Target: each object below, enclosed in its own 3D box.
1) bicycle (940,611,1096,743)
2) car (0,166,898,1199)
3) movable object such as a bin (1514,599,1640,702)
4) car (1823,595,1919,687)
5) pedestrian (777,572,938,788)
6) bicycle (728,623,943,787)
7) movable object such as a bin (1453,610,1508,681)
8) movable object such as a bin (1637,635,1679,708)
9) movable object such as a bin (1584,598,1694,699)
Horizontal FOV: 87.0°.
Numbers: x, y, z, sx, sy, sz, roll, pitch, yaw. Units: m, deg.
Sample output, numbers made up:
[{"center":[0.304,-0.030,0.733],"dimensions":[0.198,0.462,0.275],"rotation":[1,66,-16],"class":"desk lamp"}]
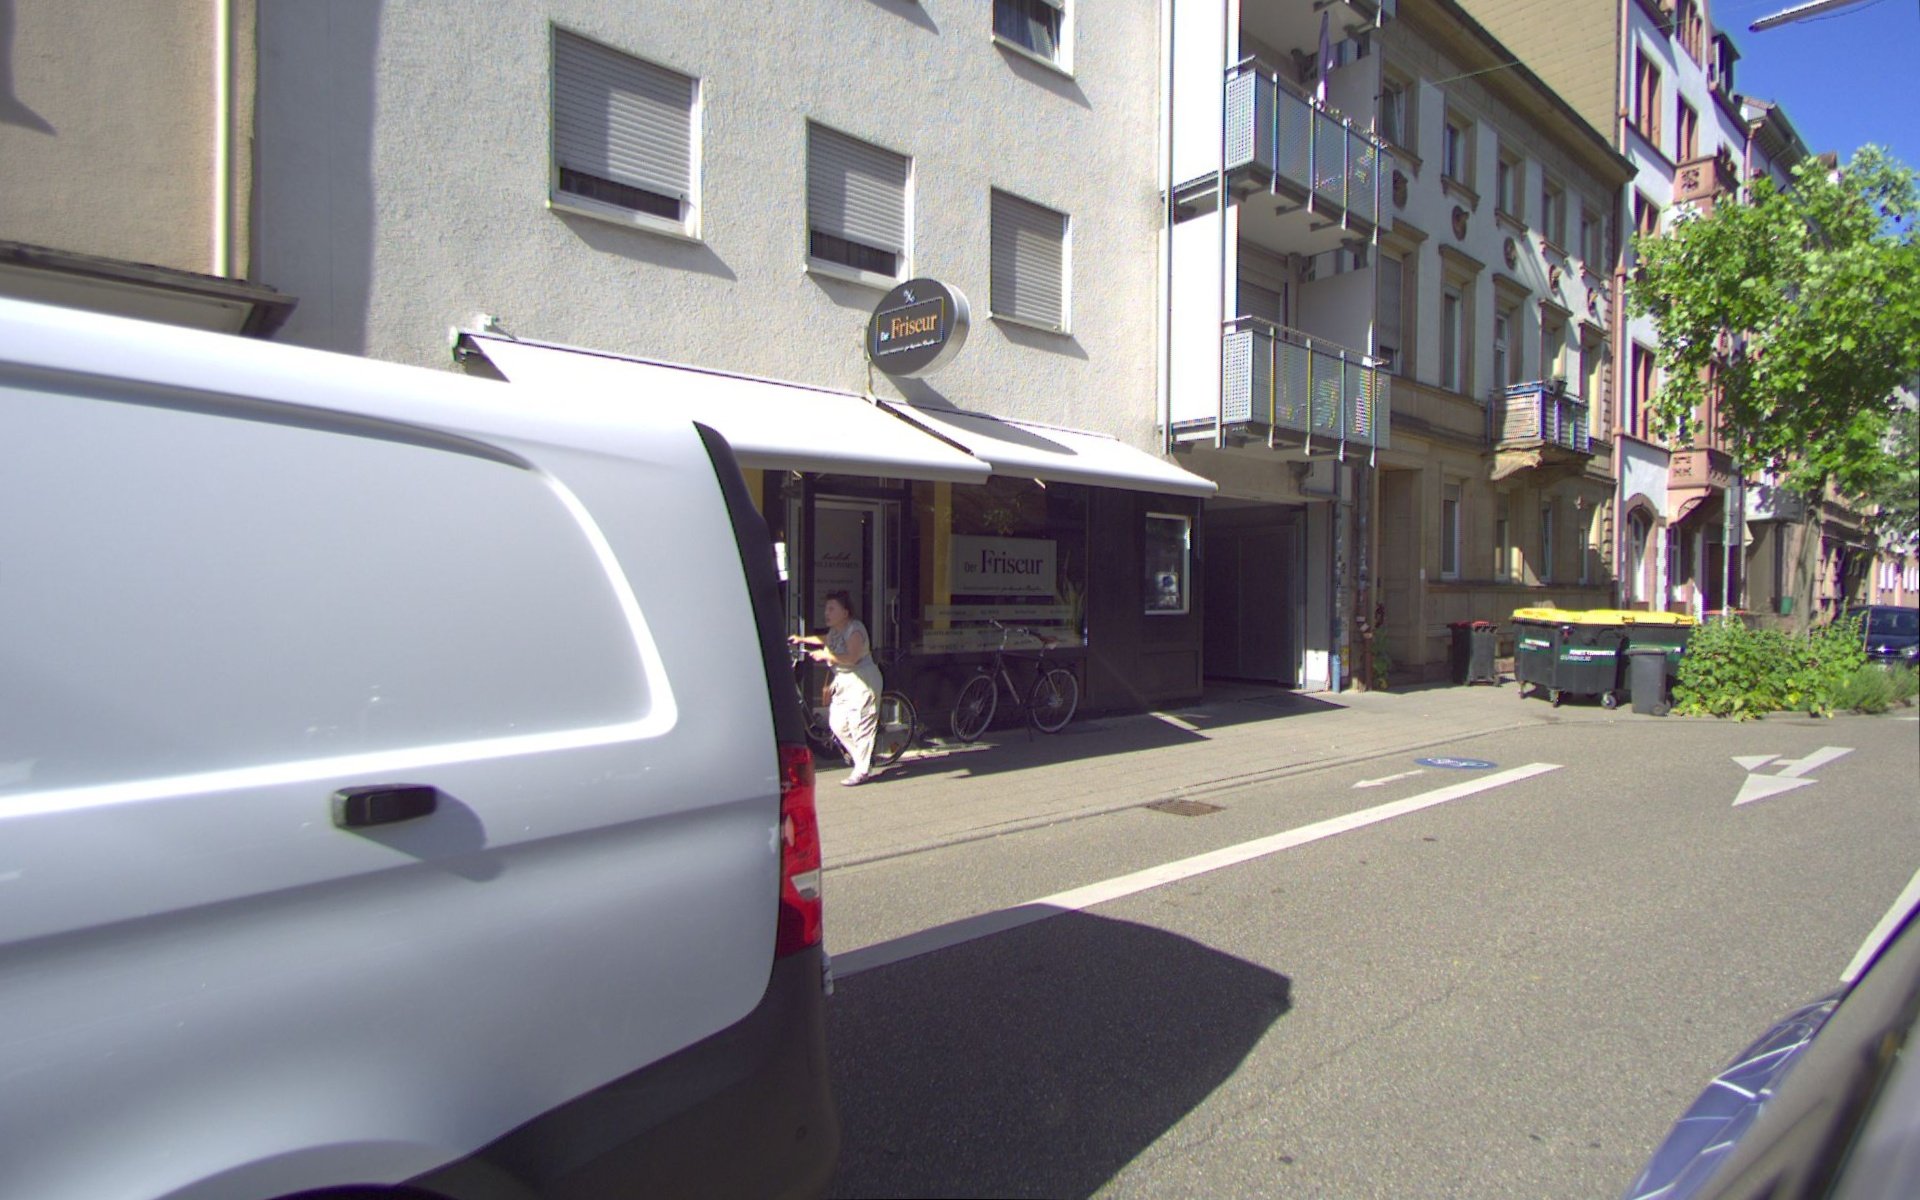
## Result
[{"center":[0.613,0.721,10.107],"dimensions":[1.760,1.193,0.402],"rotation":[0,0,-41],"class":"bicycle"},{"center":[-2.516,0.489,0.855],"dimensions":[4.913,1.892,1.838],"rotation":[0,1,-44],"class":"car"},{"center":[8.852,0.701,14.581],"dimensions":[1.030,1.341,1.216],"rotation":[1,3,1],"class":"movable object such as a bin"},{"center":[16.847,0.672,18.217],"dimensions":[3.293,1.510,1.550],"rotation":[0,1,-41],"class":"car"},{"center":[-0.825,0.586,8.096],"dimensions":[0.930,1.556,0.825],"rotation":[0,4,-41],"class":"pedestrian"},{"center":[-0.962,0.787,8.152],"dimensions":[1.760,1.146,0.402],"rotation":[0,4,-41],"class":"bicycle"},{"center":[8.542,0.742,16.627],"dimensions":[0.557,1.094,0.617],"rotation":[1,3,1],"class":"movable object such as a bin"},{"center":[9.581,0.972,13.890],"dimensions":[0.399,0.933,0.478],"rotation":[3,3,41],"class":"movable object such as a bin"},{"center":[9.969,0.686,14.904],"dimensions":[0.943,1.365,1.066],"rotation":[1,3,11],"class":"movable object such as a bin"}]
